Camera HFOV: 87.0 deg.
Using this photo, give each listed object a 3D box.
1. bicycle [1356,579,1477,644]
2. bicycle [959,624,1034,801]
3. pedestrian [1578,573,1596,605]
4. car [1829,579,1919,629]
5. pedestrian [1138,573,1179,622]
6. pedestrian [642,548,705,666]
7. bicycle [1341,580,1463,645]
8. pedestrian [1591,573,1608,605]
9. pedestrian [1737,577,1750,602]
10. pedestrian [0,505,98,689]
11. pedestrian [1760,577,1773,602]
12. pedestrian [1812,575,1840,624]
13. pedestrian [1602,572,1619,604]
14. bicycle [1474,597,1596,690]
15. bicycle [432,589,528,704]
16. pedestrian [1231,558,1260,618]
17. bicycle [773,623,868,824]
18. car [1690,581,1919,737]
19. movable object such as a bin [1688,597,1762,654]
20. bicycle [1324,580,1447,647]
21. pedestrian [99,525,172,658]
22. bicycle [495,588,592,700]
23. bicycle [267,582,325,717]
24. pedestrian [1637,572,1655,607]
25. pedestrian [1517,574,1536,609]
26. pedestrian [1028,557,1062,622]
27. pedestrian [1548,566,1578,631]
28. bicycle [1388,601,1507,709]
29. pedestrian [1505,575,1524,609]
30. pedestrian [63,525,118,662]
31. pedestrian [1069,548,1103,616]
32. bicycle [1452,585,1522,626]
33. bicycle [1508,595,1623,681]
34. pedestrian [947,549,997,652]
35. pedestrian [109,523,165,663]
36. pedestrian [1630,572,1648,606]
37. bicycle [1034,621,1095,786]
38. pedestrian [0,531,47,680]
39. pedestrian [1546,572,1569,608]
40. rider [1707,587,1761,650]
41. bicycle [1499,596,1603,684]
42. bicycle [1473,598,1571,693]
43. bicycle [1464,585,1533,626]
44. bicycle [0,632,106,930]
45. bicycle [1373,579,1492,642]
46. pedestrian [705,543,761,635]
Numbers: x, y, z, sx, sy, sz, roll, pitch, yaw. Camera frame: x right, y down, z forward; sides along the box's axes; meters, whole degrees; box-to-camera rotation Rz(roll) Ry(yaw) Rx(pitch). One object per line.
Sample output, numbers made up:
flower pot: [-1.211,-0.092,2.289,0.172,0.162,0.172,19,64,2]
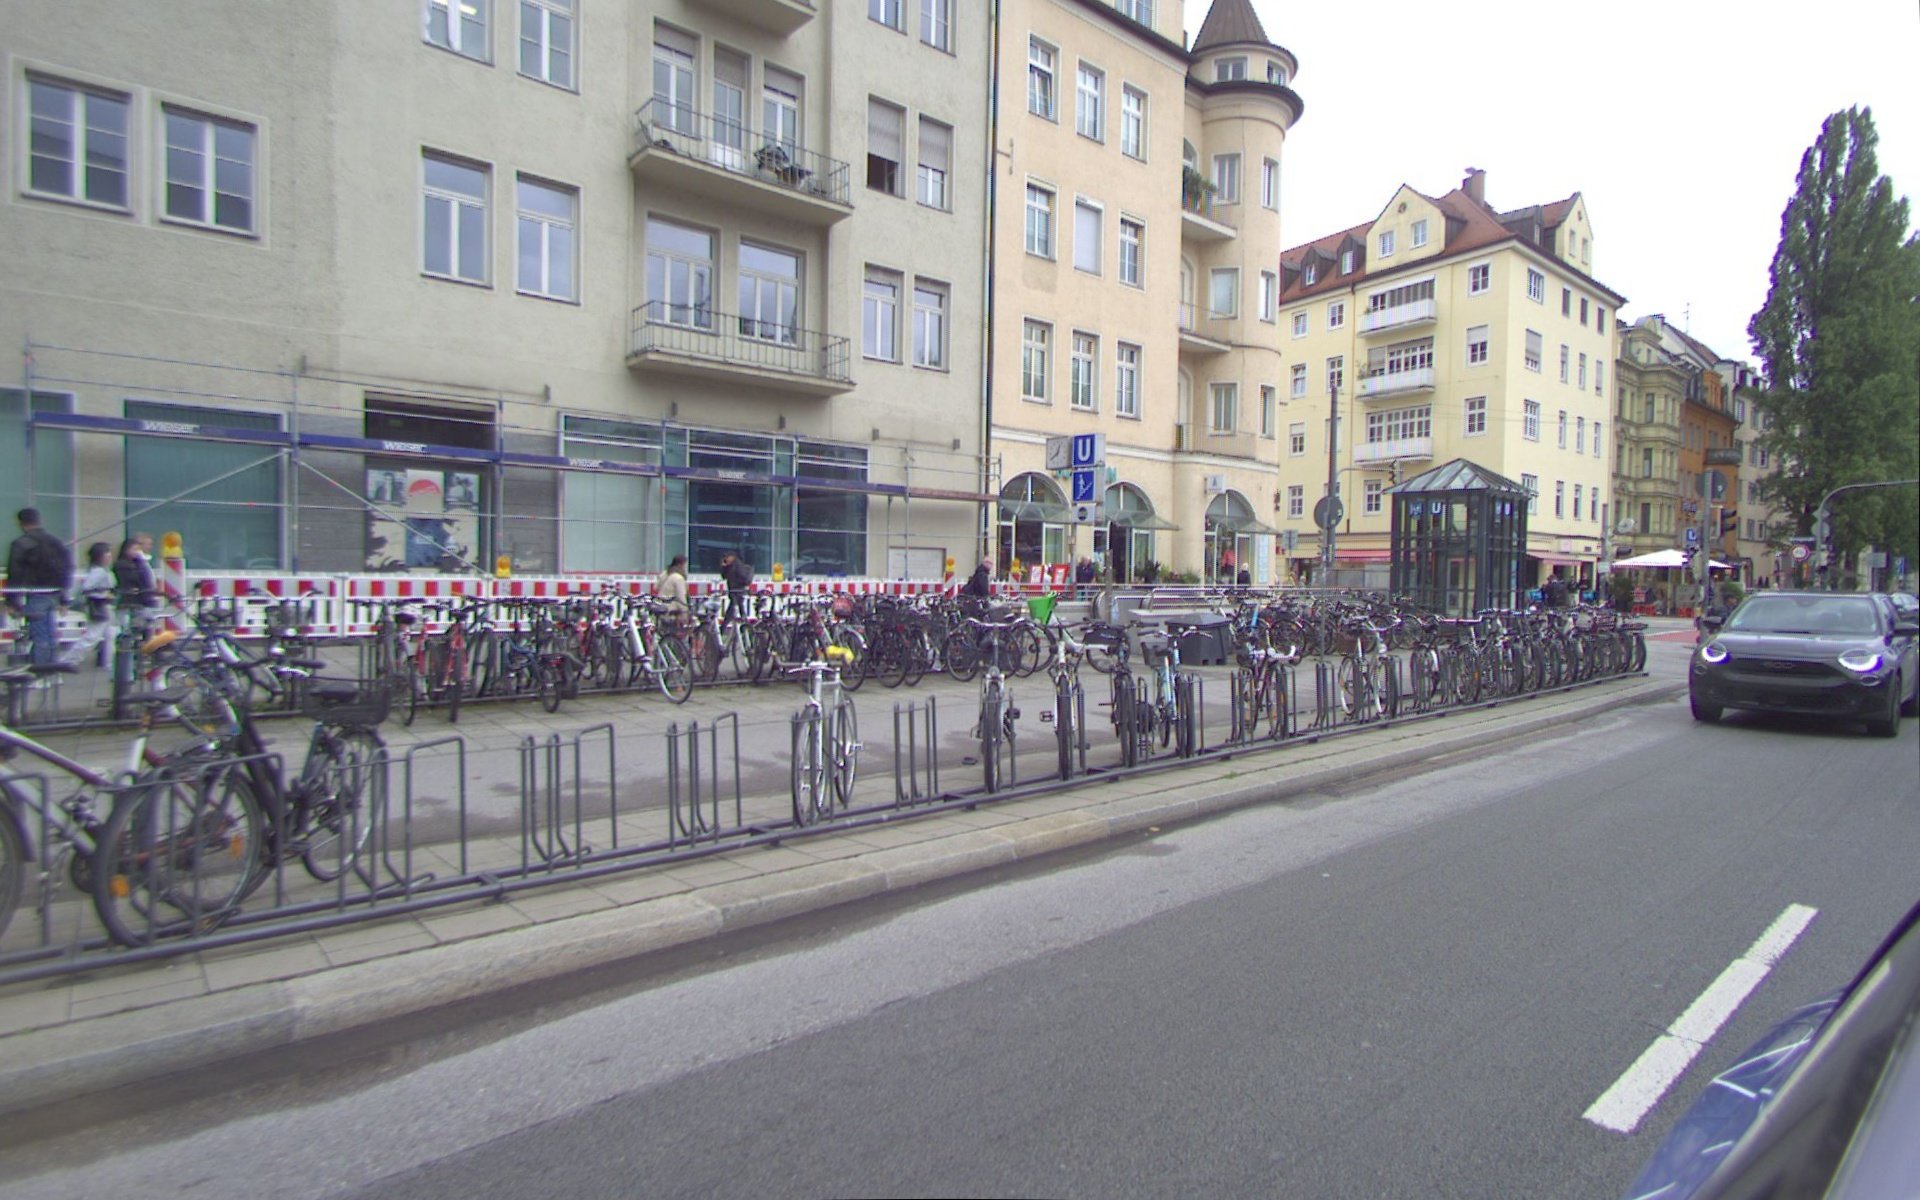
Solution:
bicycle: [9.710,0.212,21.615,0.617,1.242,2.319,0,2,-37]
bicycle: [0.221,0.712,7.081,0.390,1.073,1.802,0,-2,-2]
pedestrian: [30.830,-0.544,49.765,0.575,1.544,0.528,0,2,-39]
car: [32.036,0.084,35.444,3.930,1.644,1.853,-1,2,-40]
pedestrian: [5.424,-0.083,27.660,0.903,1.260,0.700,-2,3,-41]
pedestrian: [-4.010,0.080,14.181,0.655,1.602,0.532,2,2,26]
bicycle: [9.214,0.225,21.193,0.617,1.242,2.319,0,2,-37]
pedestrian: [31.221,-0.540,49.420,0.575,1.544,0.528,0,2,-39]
pedestrian: [54.231,-0.726,70.056,0.575,1.705,0.552,0,2,-39]
pedestrian: [-9.654,-0.051,10.665,0.713,1.851,0.720,2,2,36]
pedestrian: [55.883,-0.738,70.164,0.575,1.705,0.552,0,2,-39]
pedestrian: [33.119,-0.022,38.714,0.729,1.823,0.700,2,4,41]
pedestrian: [35.058,-0.634,54.530,0.575,1.705,0.552,0,2,-39]
bicycle: [7.809,0.555,13.831,0.468,1.151,1.681,0,1,-10]
bicycle: [-5.175,0.464,10.868,1.447,1.091,0.404,4,3,42]
pedestrian: [8.386,-0.364,29.704,0.580,1.721,0.566,-2,3,-41]
bicycle: [-0.798,0.659,6.103,0.379,1.024,1.802,0,-2,-2]
car: [10.101,0.544,11.785,3.980,1.488,1.739,-1,2,-41]
movable object such as a bin: [16.207,0.524,21.447,0.735,1.075,1.088,-1,5,-43]
bicycle: [8.706,0.237,20.831,0.617,1.242,2.319,0,2,-37]
pedestrian: [-10.713,-0.110,13.158,0.495,1.695,0.541,0,1,-2]
bicycle: [-4.609,0.453,11.158,1.447,1.091,0.404,4,3,42]
bicycle: [-6.326,0.423,9.675,0.402,1.116,1.636,0,3,-31]
pedestrian: [33.809,-0.537,49.859,0.575,1.705,0.552,0,2,-39]
pedestrian: [25.886,-0.388,46.254,0.575,1.544,0.528,0,2,-39]
pedestrian: [2.066,-0.271,24.662,0.580,1.560,0.566,-2,3,-41]
pedestrian: [16.966,-0.054,28.490,0.634,1.799,0.605,1,1,27]
bicycle: [5.750,0.611,12.051,0.480,1.151,1.797,0,1,-2]
pedestrian: [25.553,-0.394,46.636,0.575,1.544,0.528,0,2,-39]
pedestrian: [-10.221,-0.079,11.908,0.458,1.559,0.560,-1,1,-39]
pedestrian: [3.308,-0.480,26.675,0.634,1.759,0.617,-2,3,-41]
bicycle: [15.896,0.163,30.588,0.597,1.141,1.828,1,2,-28]
bicycle: [8.893,0.522,14.937,0.469,1.151,1.787,0,1,-6]
pedestrian: [0.213,-0.005,17.410,0.728,1.729,0.703,2,2,9]
pedestrian: [-10.260,-0.088,12.620,0.525,1.694,0.465,0,1,44]
pedestrian: [34.068,-0.563,50.757,0.575,1.705,0.552,0,2,-39]
bicycle: [0.753,0.698,7.511,0.390,1.073,1.849,0,-2,5]
pedestrian: [-10.440,0.044,11.078,0.649,1.584,0.546,2,2,35]
pedestrian: [28.722,-0.470,48.648,0.610,1.687,0.686,1,2,-27]
rider: [16.320,0.376,21.342,0.721,1.256,0.731,-1,4,-43]
bicycle: [8.392,0.536,14.450,0.469,1.151,1.679,0,1,-1]
bicycle: [7.387,0.569,13.366,0.341,1.151,1.527,0,1,-4]
bicycle: [16.437,0.152,30.934,0.597,1.141,1.828,1,2,-28]
bicycle: [-3.873,0.671,3.382,0.536,1.119,1.802,0,-2,-2]
bicycle: [10.257,0.198,22.061,0.617,1.242,2.319,0,2,-37]
pedestrian: [-4.136,-0.209,18.455,0.819,1.652,0.564,0,2,-37]
